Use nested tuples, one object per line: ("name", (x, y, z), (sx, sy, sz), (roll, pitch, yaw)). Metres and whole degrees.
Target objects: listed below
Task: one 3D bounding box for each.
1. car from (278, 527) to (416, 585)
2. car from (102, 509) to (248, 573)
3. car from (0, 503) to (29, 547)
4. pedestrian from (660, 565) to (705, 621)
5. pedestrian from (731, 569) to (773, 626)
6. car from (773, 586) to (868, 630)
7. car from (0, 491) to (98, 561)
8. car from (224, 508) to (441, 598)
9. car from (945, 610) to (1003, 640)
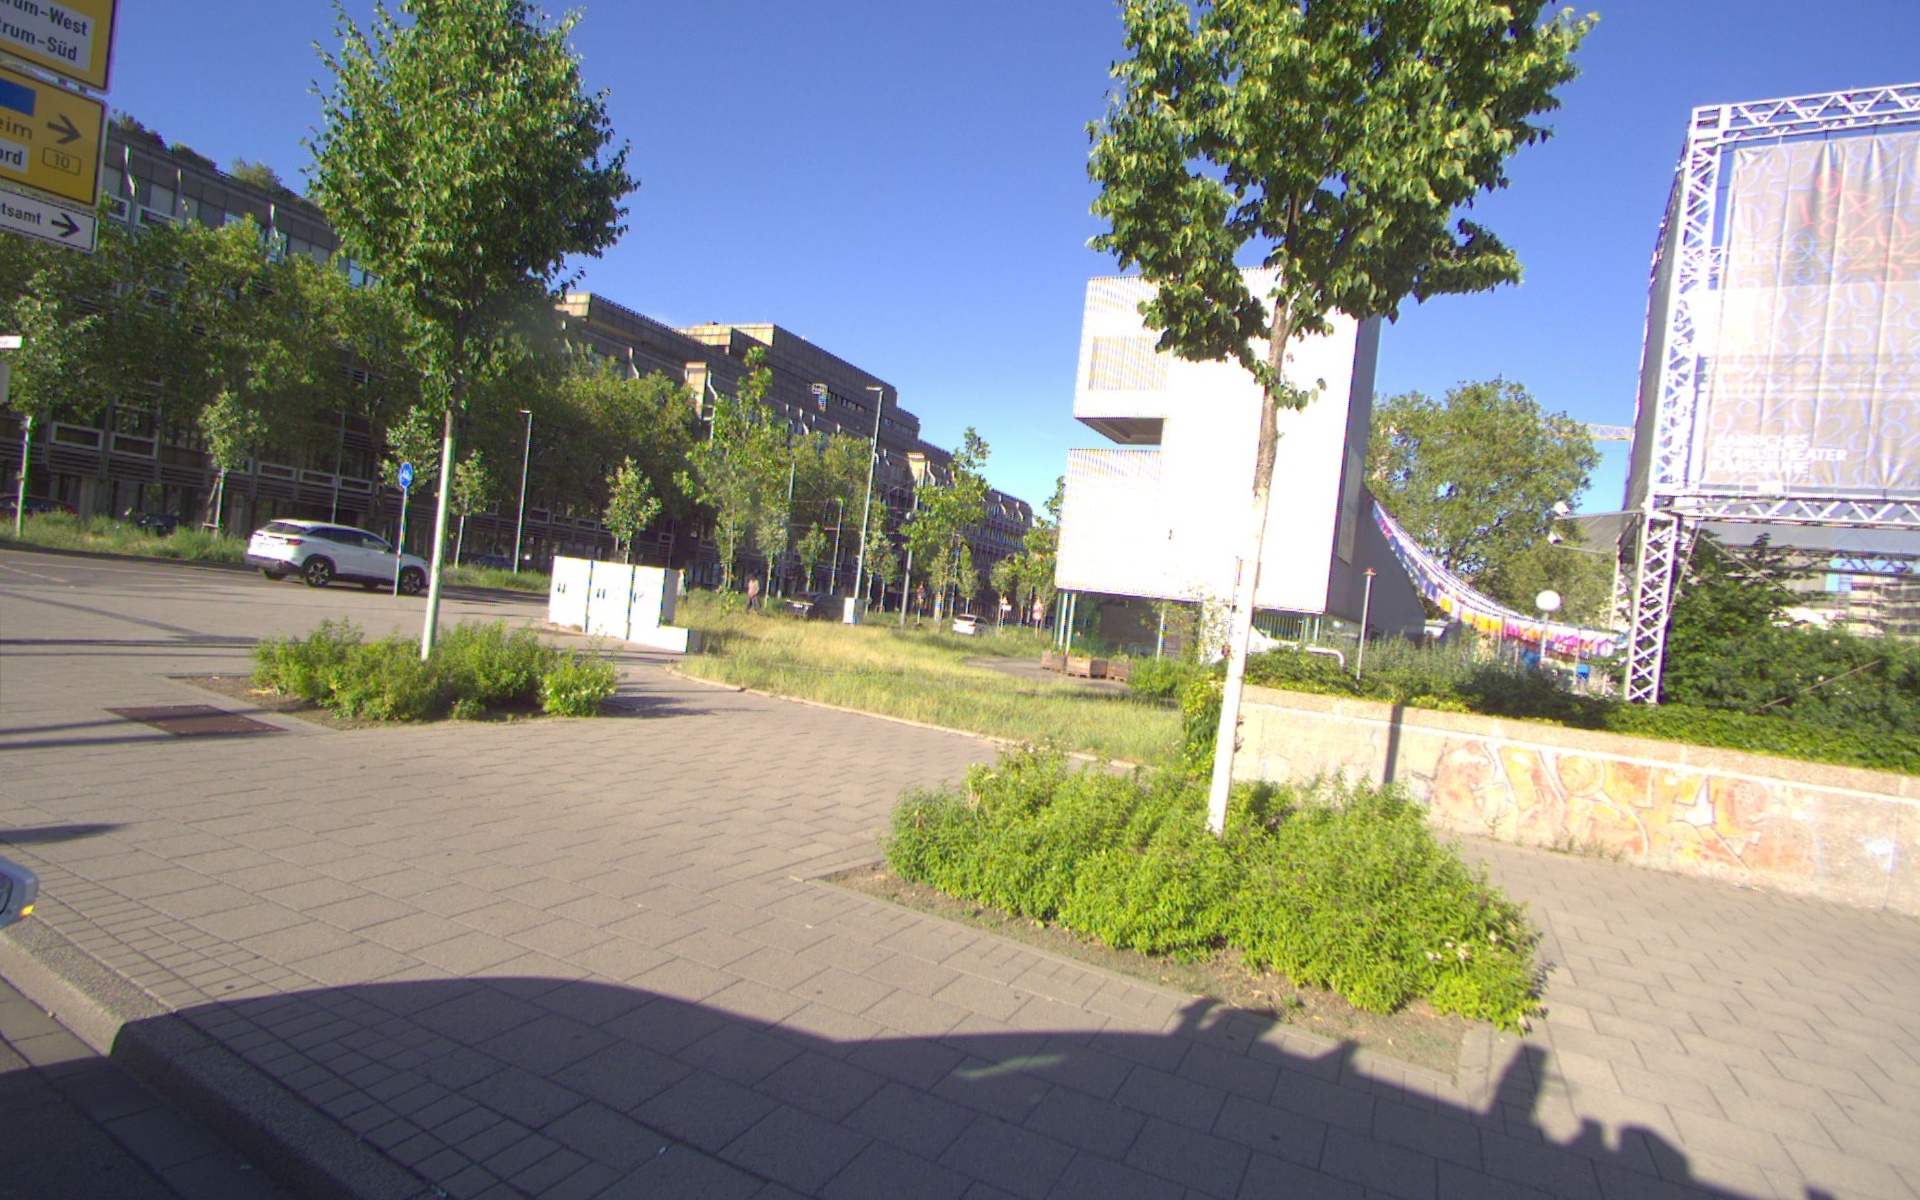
("car", (-30.678, -2.180, 50.582), (2.062, 2.036, 5.455), (6, -2, 29))
("car", (-34.113, -2.528, 43.879), (1.965, 2.036, 4.458), (7, -2, 27))
("car", (-37.246, -3.042, 36.942), (1.836, 1.525, 3.997), (7, -2, 29))
("pedestrian", (-8.769, -0.212, 31.780), (0.925, 1.650, 0.803), (7, 1, 18))
("pedestrian", (-6.829, -0.076, 33.035), (0.925, 1.750, 0.695), (7, 1, 18))
("car", (-6.805, 0.425, 49.639), (1.965, 1.621, 4.949), (9, 0, 27))
("car", (-33.315, -2.710, 35.372), (1.966, 2.037, 3.997), (6, -2, 29))
("car", (-16.314, -1.158, 26.426), (1.963, 1.680, 4.406), (8, 0, 21))
("car", (0.961, 1.671, 65.181), (1.964, 1.546, 4.700), (7, -1, 24))
